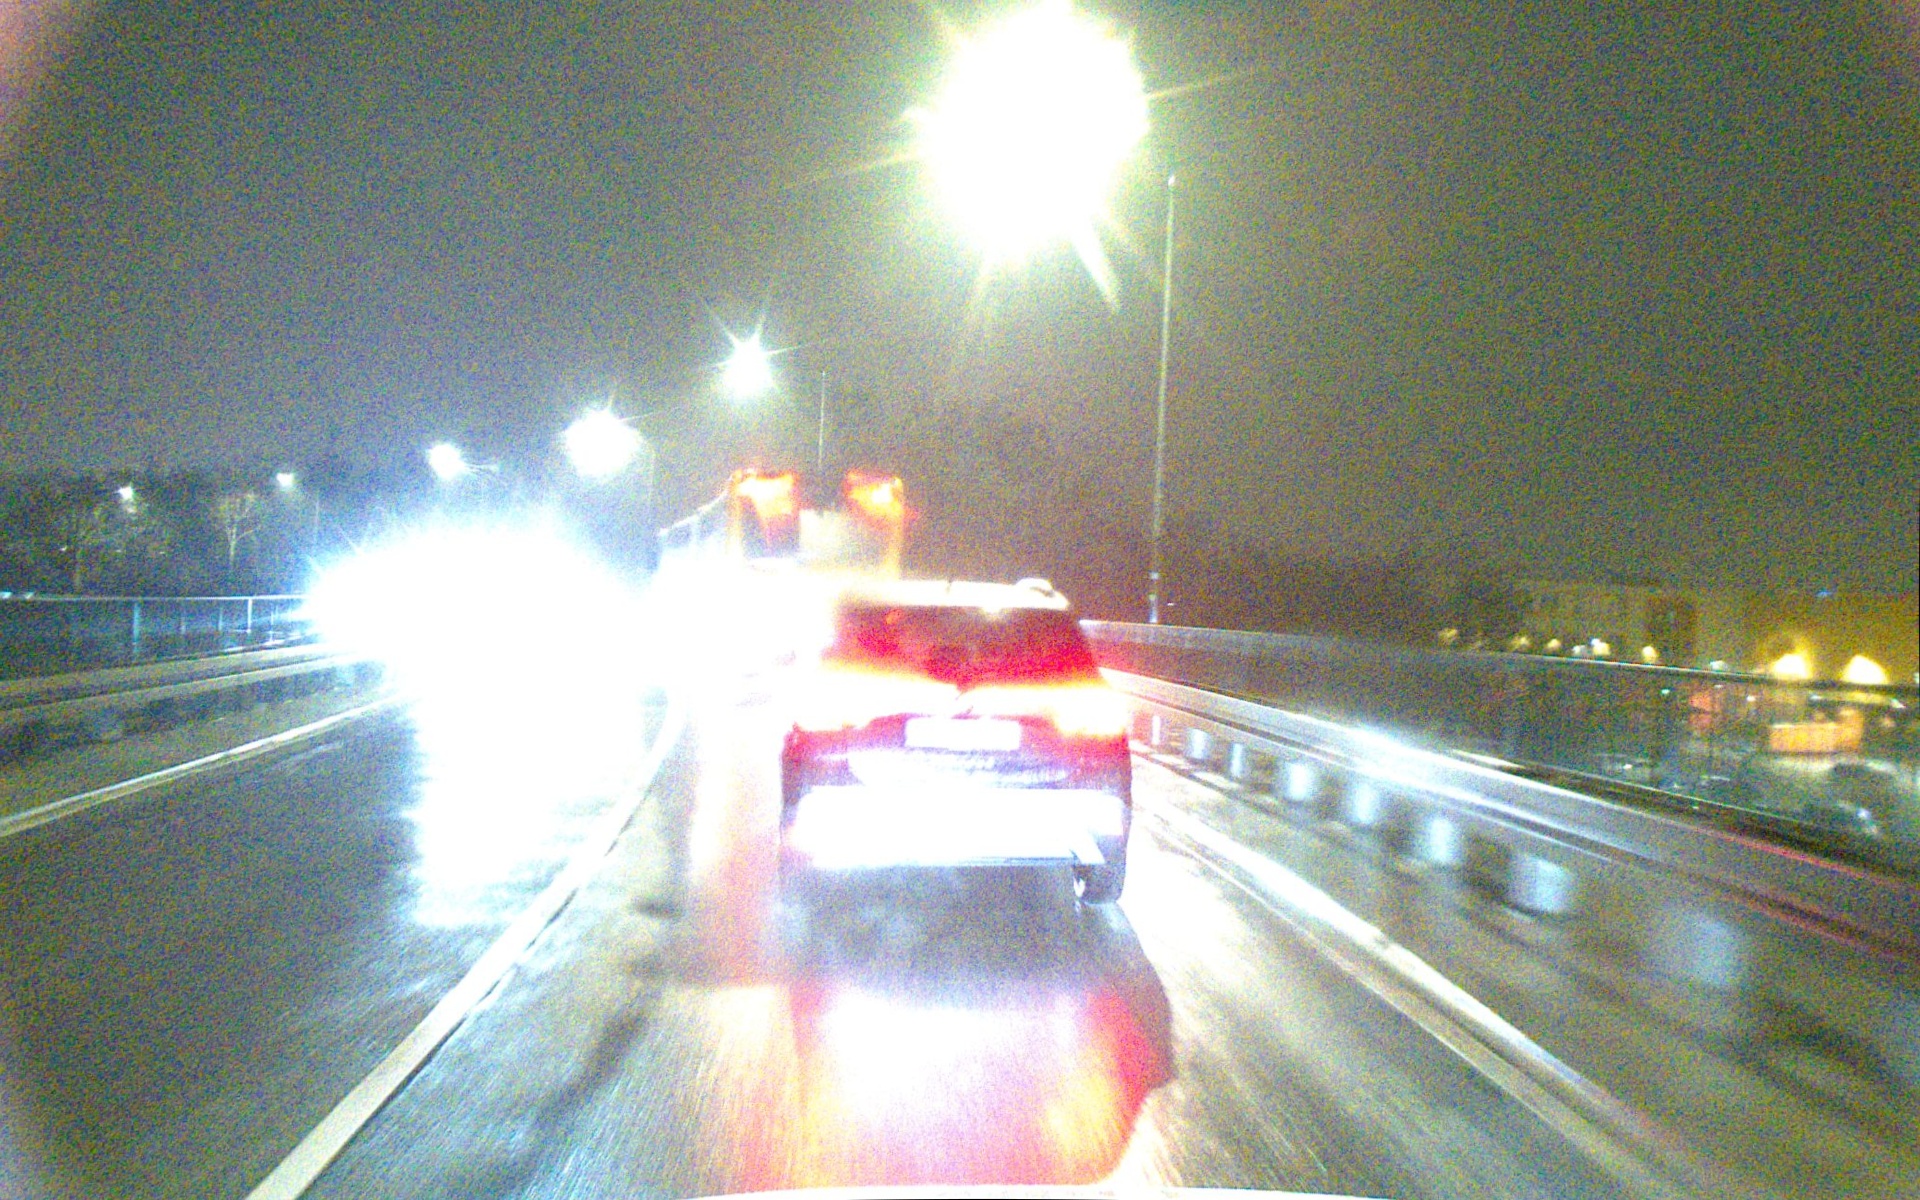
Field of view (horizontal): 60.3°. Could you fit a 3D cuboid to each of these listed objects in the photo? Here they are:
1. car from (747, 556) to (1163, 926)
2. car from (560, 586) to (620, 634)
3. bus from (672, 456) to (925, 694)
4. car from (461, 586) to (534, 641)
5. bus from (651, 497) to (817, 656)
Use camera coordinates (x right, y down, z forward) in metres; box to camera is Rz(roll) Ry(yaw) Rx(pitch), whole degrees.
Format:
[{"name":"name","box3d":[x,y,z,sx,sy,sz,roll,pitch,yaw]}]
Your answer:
[{"name":"car","box3d":[-0.098,0.627,9.266,1.818,1.614,3.998,0,0,-3]},{"name":"car","box3d":[-13.680,0.365,61.048,1.613,1.684,3.686,-1,0,-21]},{"name":"bus","box3d":[-3.255,-0.394,28.688,3.029,3.187,12.659,0,0,-12]},{"name":"car","box3d":[-15.406,0.429,54.958,1.755,1.734,4.281,-1,0,-24]},{"name":"bus","box3d":[-5.465,-0.569,38.710,2.996,3.186,8.052,3,1,-13]}]
